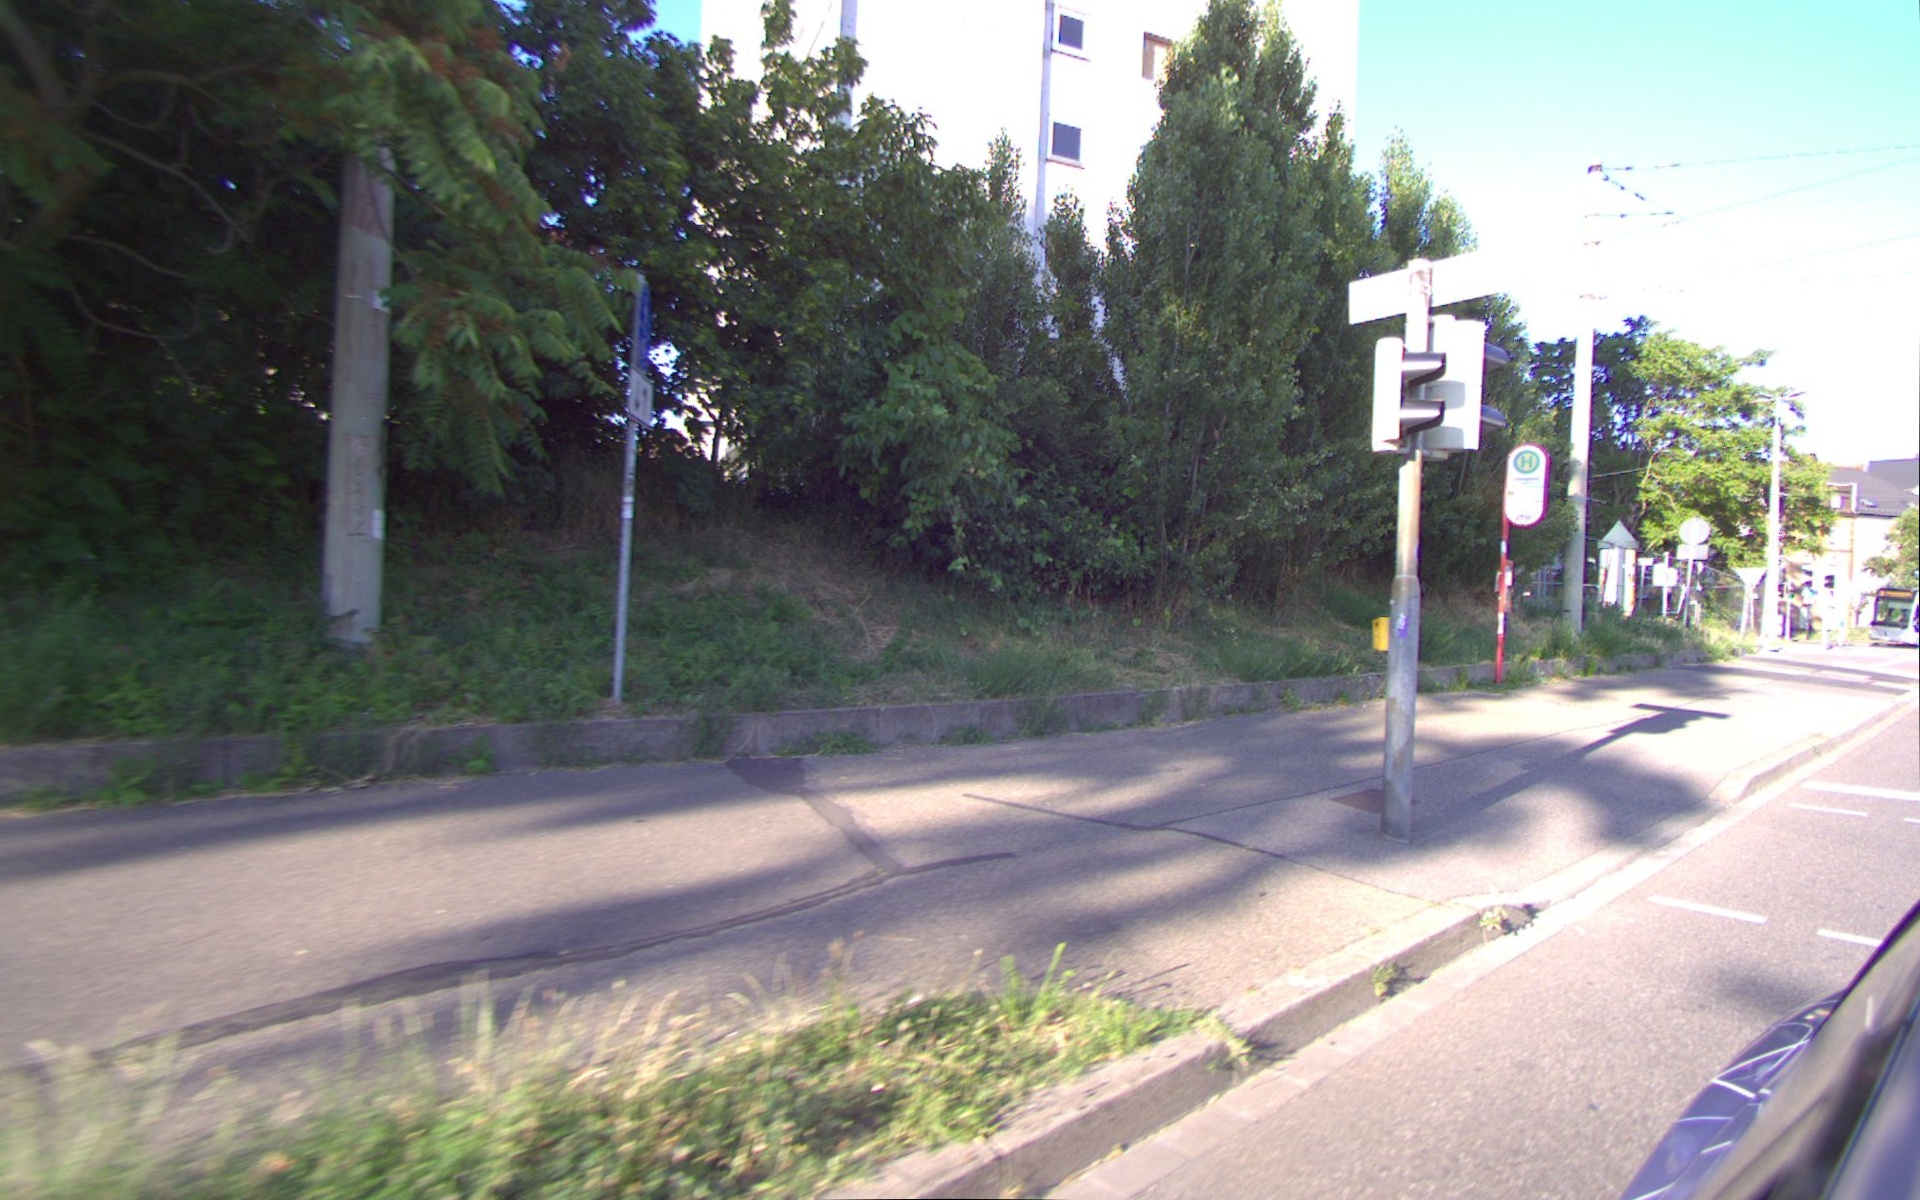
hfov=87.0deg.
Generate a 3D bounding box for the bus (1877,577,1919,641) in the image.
[{"bbox_3d":[51.177,0.588,49.834,9.399,3.063,2.613,2,0,2],"label":"bus"}]
